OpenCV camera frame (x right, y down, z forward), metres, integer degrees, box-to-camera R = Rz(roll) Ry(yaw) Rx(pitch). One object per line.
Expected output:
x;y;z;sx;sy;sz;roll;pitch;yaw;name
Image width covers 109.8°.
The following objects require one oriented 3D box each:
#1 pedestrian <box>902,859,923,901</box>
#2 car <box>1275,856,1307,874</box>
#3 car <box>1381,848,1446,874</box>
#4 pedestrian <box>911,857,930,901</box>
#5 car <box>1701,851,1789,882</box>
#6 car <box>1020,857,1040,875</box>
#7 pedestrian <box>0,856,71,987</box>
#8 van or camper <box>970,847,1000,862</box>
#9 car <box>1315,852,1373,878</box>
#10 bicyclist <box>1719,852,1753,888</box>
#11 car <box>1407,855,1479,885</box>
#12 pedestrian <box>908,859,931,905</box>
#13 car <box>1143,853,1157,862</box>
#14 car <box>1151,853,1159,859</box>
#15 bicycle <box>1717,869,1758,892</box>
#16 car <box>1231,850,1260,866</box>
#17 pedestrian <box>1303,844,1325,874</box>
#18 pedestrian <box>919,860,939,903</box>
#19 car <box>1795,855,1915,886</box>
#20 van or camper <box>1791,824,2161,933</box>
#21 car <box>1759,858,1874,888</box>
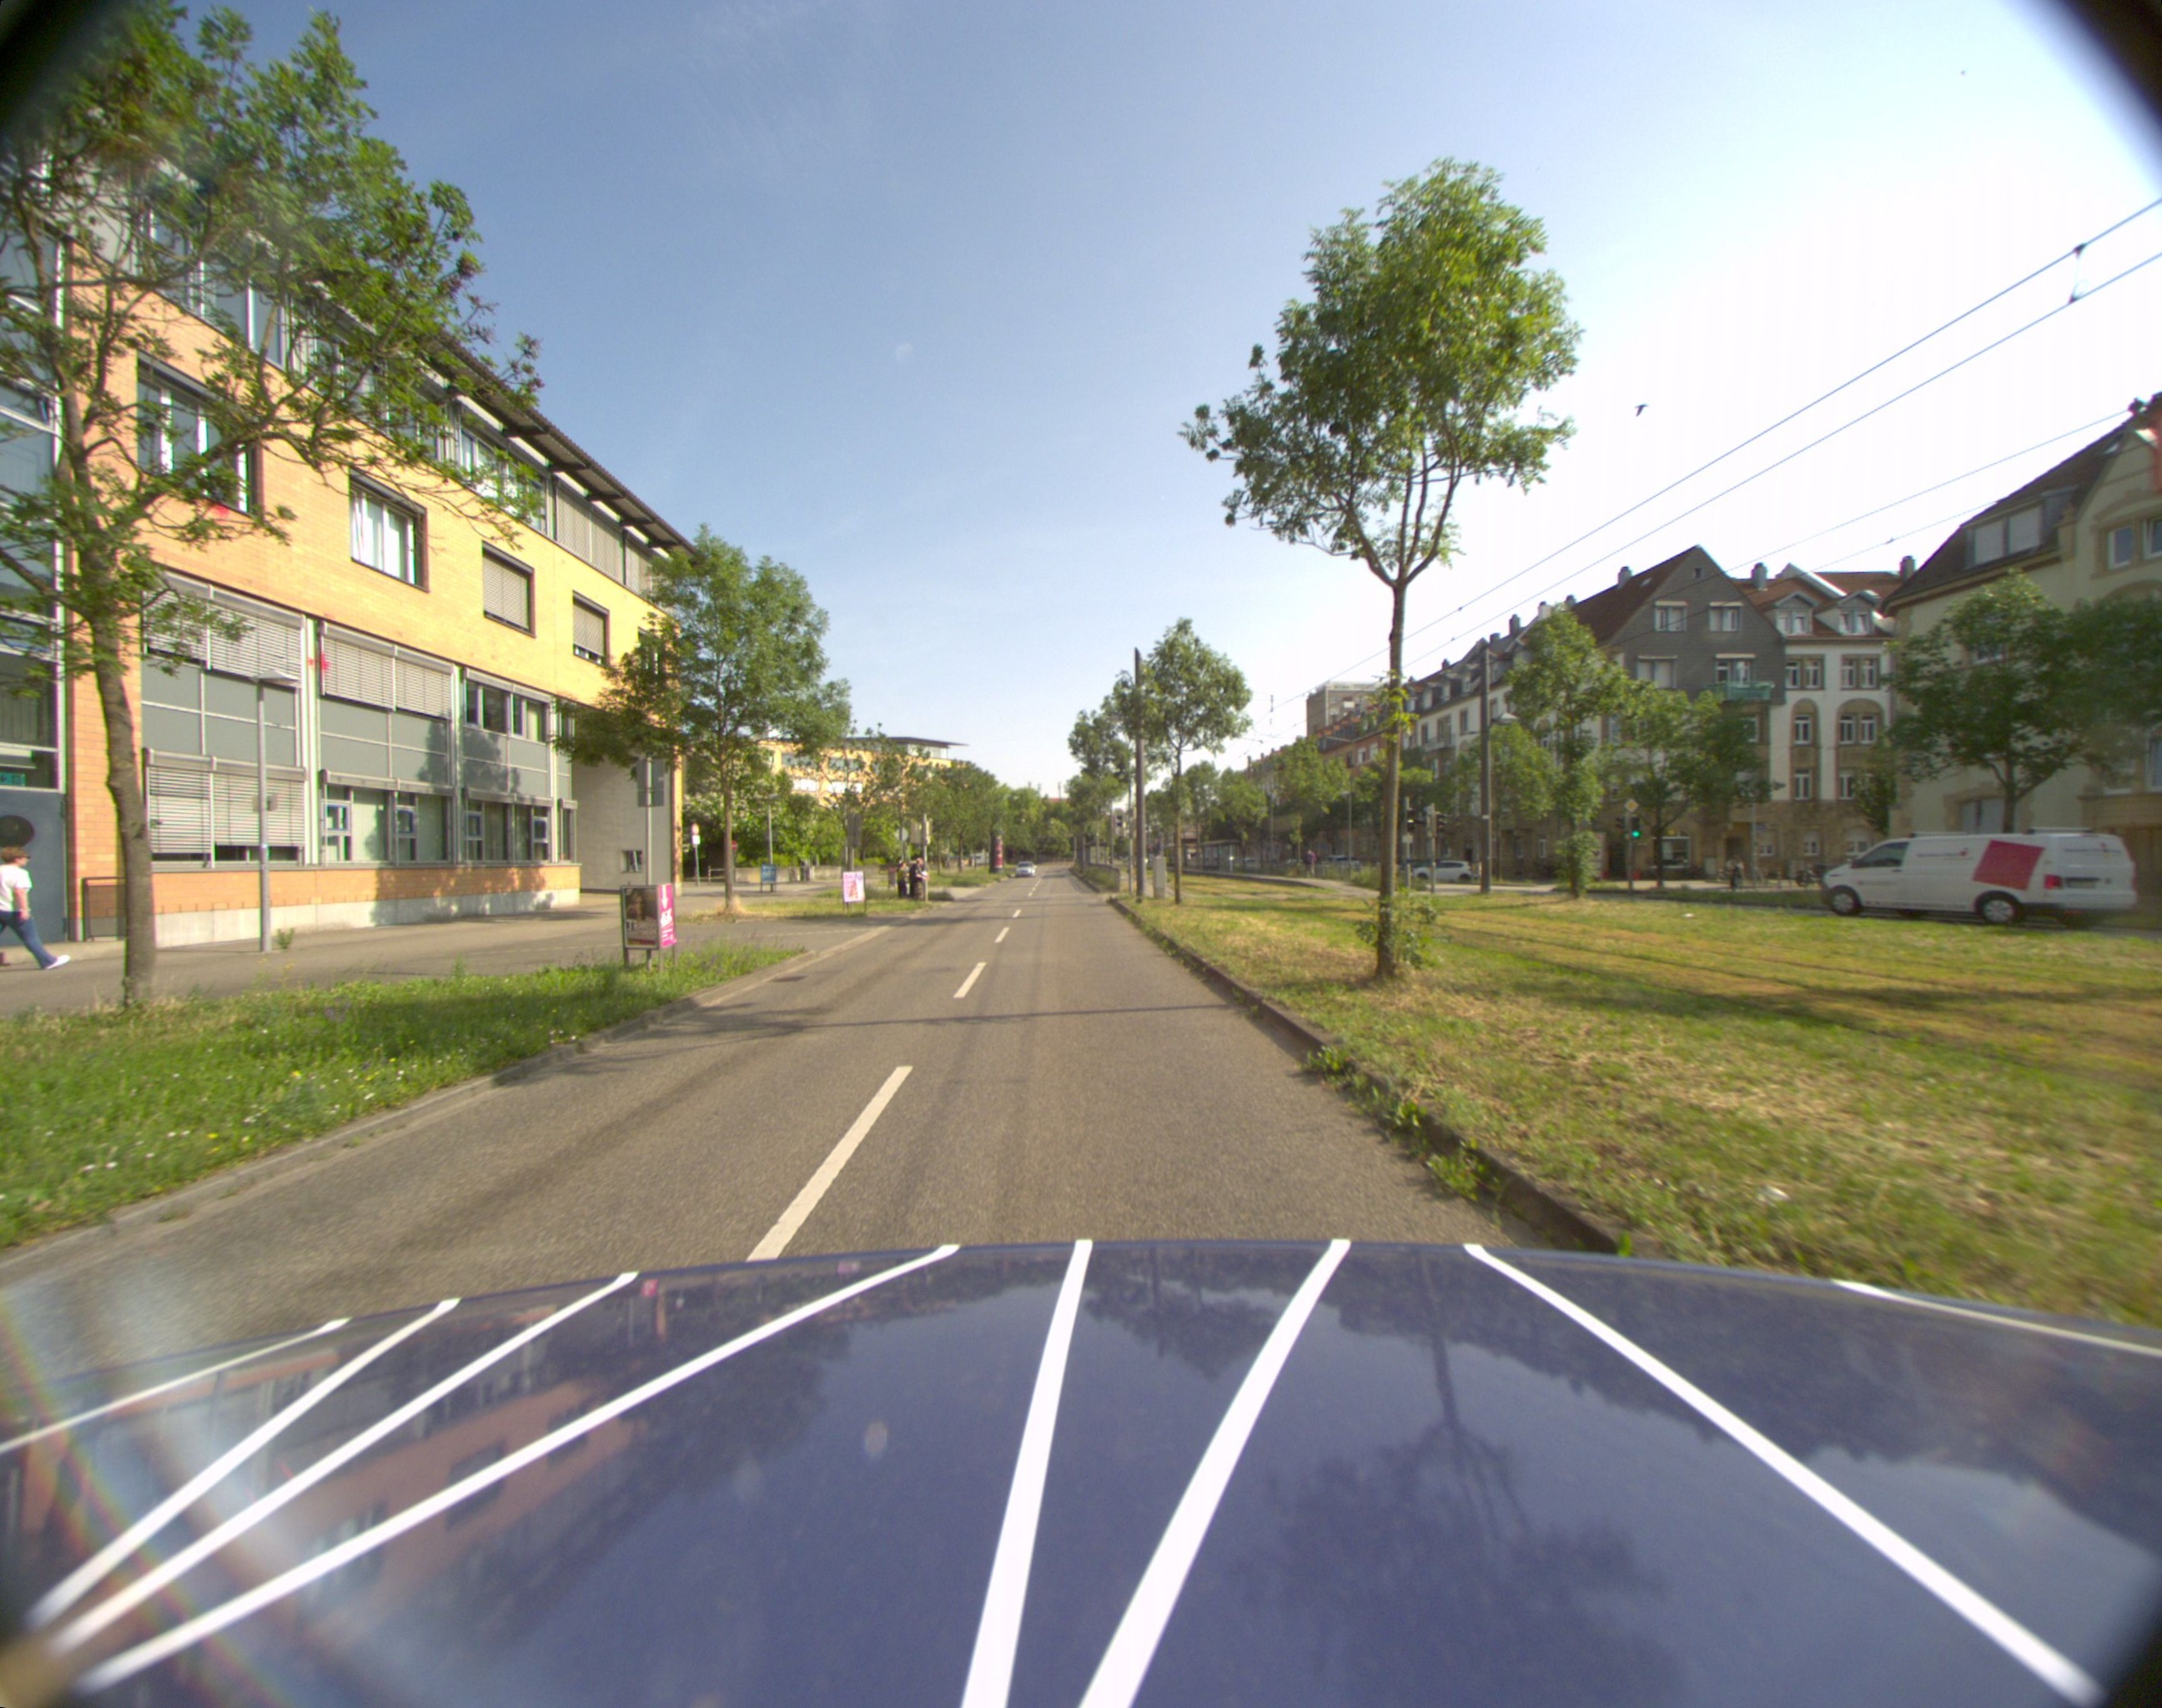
-6.680;1.011;30.121;0.707;1.637;0.689;1;1;-4;pedestrian
19.074;0.988;69.034;1.672;1.505;3.999;0;1;-2;car
24.229;0.526;55.369;3.989;1.716;2.003;-2;1;33;car
-6.022;0.938;28.534;0.636;1.637;0.608;1;1;-6;pedestrian
39.232;0.733;44.949;3.824;1.574;1.604;-3;1;-1;car
-4.605;1.050;68.799;1.629;1.476;3.365;-3;1;-3;car
-14.005;0.856;9.873;0.698;1.647;0.773;0;1;-2;pedestrian
-19.757;0.127;156.498;5.802;2.678;2.407;-3;1;-5;van or camper
16.239;0.646;47.133;1.839;1.524;4.575;1;1;-2;car
28.814;0.697;33.453;0.847;1.550;0.904;-2;1;23;bicyclist
23.722;1.047;49.831;3.989;1.716;2.003;-2;1;33;car
-5.795;0.999;27.253;0.707;1.637;0.689;1;1;-4;pedestrian
16.006;0.762;176.368;1.698;1.787;4.006;-2;1;29;car
19.378;0.623;198.934;1.672;1.505;3.999;0;1;-2;car
28.886;1.176;33.447;0.856;0.860;2.022;-2;1;26;bicycle
16.052;0.363;74.309;1.776;1.432;4.423;1;1;-2;car
12.856;0.286;41.946;0.886;1.645;0.852;-1;1;-2;pedestrian
-5.892;1.044;29.394;0.708;1.637;0.688;1;1;-9;pedestrian
37.535;0.761;37.018;1.672;1.404;3.999;0;1;-2;car
19.659;0.451;17.220;1.957;2.085;5.351;0;1;-2;van or camper
35.679;0.895;37.019;1.672;1.291;3.999;0;1;-2;car
